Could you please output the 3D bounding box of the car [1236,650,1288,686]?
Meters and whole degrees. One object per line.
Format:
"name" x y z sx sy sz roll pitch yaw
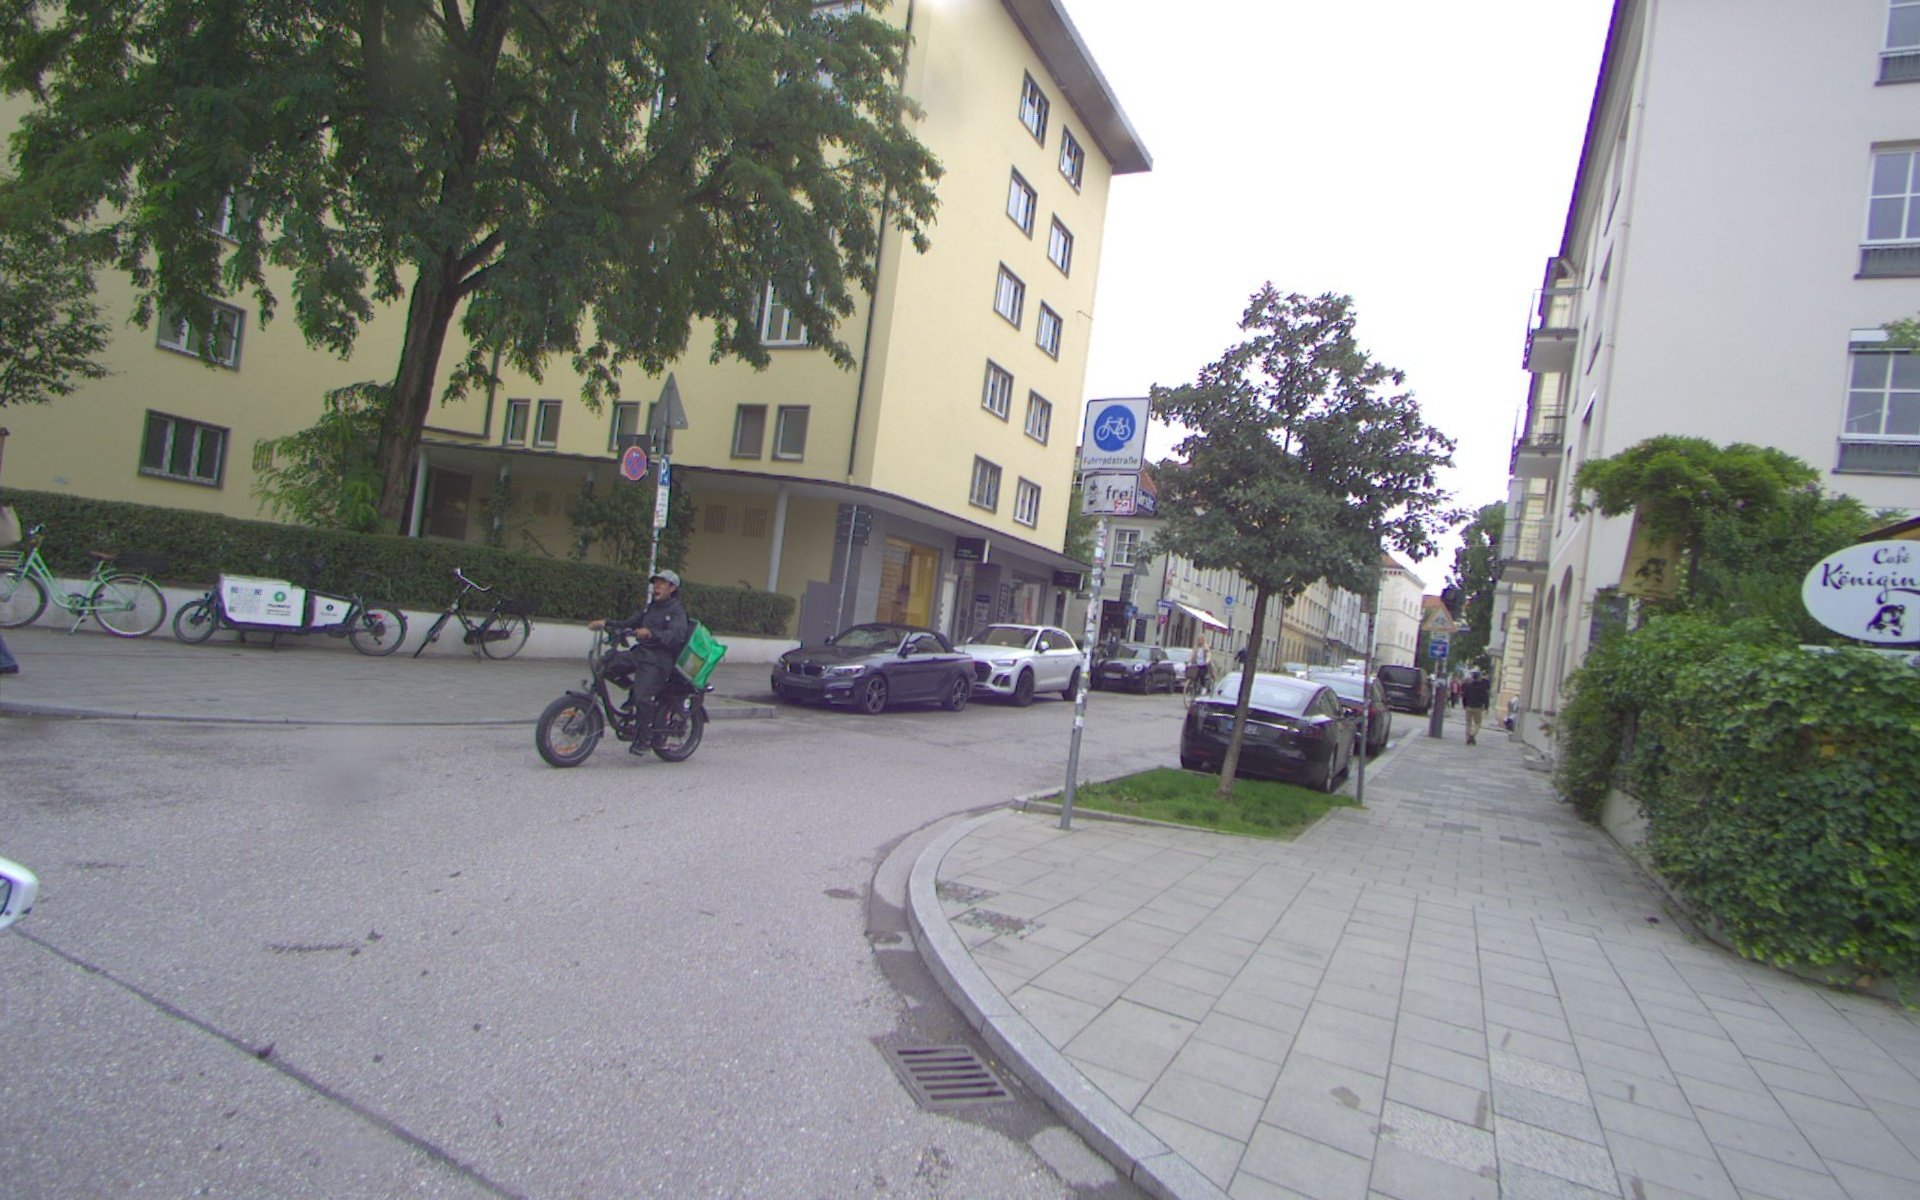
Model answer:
"car" 14.748 3.336 48.972 1.711 1.439 3.998 7 -1 26

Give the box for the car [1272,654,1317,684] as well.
"car" 19.068 3.943 57.228 1.758 1.431 3.997 7 -1 27

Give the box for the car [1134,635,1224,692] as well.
"car" 7.369 2.147 33.528 1.793 1.548 3.997 7 -1 28

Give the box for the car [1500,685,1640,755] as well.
"car" 18.428 3.596 30.560 3.422 1.548 1.574 7 0 29

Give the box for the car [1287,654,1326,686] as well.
"car" 21.202 4.268 61.422 1.758 1.682 3.999 7 -1 24

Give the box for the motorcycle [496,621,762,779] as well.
"motorcycle" -2.726 0.843 8.500 0.708 1.111 1.971 7 -1 38

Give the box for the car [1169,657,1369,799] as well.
"car" 4.559 1.701 14.318 1.935 1.415 4.502 7 -1 26

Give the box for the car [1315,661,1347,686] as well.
"car" 25.798 5.101 69.940 1.663 1.426 3.500 8 0 24

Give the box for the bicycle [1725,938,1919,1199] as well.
"bicycle" 2.106 1.230 0.961 2.156 1.032 0.877 7 0 35

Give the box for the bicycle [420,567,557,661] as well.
"bicycle" -6.479 0.228 13.920 0.452 1.144 1.686 7 -1 27

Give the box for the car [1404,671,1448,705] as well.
"car" 25.344 4.728 54.622 1.798 1.536 4.234 7 0 28

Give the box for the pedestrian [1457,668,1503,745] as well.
"pedestrian" 12.585 2.560 24.354 0.774 1.735 0.831 7 0 28

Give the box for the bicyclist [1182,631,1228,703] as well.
"bicyclist" 6.121 1.675 25.098 0.684 1.676 1.005 7 0 29

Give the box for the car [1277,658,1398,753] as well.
"car" 7.894 2.134 20.813 1.694 1.548 3.996 7 -1 28

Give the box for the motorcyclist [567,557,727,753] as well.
"motorcyclist" -2.645 0.467 8.522 0.703 1.519 0.895 7 0 39

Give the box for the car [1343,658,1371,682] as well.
"car" 31.467 5.565 79.711 1.758 1.682 3.999 7 -1 24

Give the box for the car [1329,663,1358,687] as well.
"car" 28.249 5.511 74.113 1.663 1.426 3.500 8 0 24

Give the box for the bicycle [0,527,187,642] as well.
"bicycle" -9.849 -0.181 11.119 1.921 1.098 0.527 6 0 -20

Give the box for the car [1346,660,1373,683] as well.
"car" 33.478 6.005 84.210 1.758 1.682 3.999 7 -1 24

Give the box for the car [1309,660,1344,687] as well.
"car" 24.036 4.787 65.902 1.663 1.426 3.997 8 0 24

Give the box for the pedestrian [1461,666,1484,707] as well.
"pedestrian" 26.760 4.497 52.544 0.774 2.038 0.832 7 0 23

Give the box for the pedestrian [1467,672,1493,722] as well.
"pedestrian" 22.117 4.118 42.820 0.743 2.038 0.831 7 0 28

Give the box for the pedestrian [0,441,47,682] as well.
"pedestrian" -7.930 -0.344 7.954 0.756 1.881 0.849 7 1 40

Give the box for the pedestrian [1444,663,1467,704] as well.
"pedestrian" 26.046 4.386 52.898 0.774 2.038 0.832 7 0 23

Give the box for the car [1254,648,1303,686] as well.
"car" 16.938 3.583 53.364 1.758 1.682 3.998 7 -1 26

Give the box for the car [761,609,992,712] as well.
"car" -1.220 1.054 16.803 1.634 1.383 4.329 4 -3 29

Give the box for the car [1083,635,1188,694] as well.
"car" 5.286 1.940 29.837 1.795 1.417 3.996 7 -1 28

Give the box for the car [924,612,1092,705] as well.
"car" 1.146 1.227 21.495 1.826 1.682 4.313 4 -1 28

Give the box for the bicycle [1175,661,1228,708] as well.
"bicycle" 6.024 2.105 25.019 0.673 1.036 1.965 7 -1 29

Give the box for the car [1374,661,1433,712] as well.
"car" 18.371 3.571 41.588 1.788 1.796 3.996 7 -1 28

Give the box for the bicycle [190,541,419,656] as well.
"bicycle" -7.897 0.013 12.214 0.632 1.129 2.163 7 -1 44

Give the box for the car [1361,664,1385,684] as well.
"car" 40.464 7.213 98.582 1.744 1.616 3.995 8 0 26

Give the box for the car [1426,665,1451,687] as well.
"car" 38.924 6.186 81.830 1.674 1.526 3.996 7 0 26
